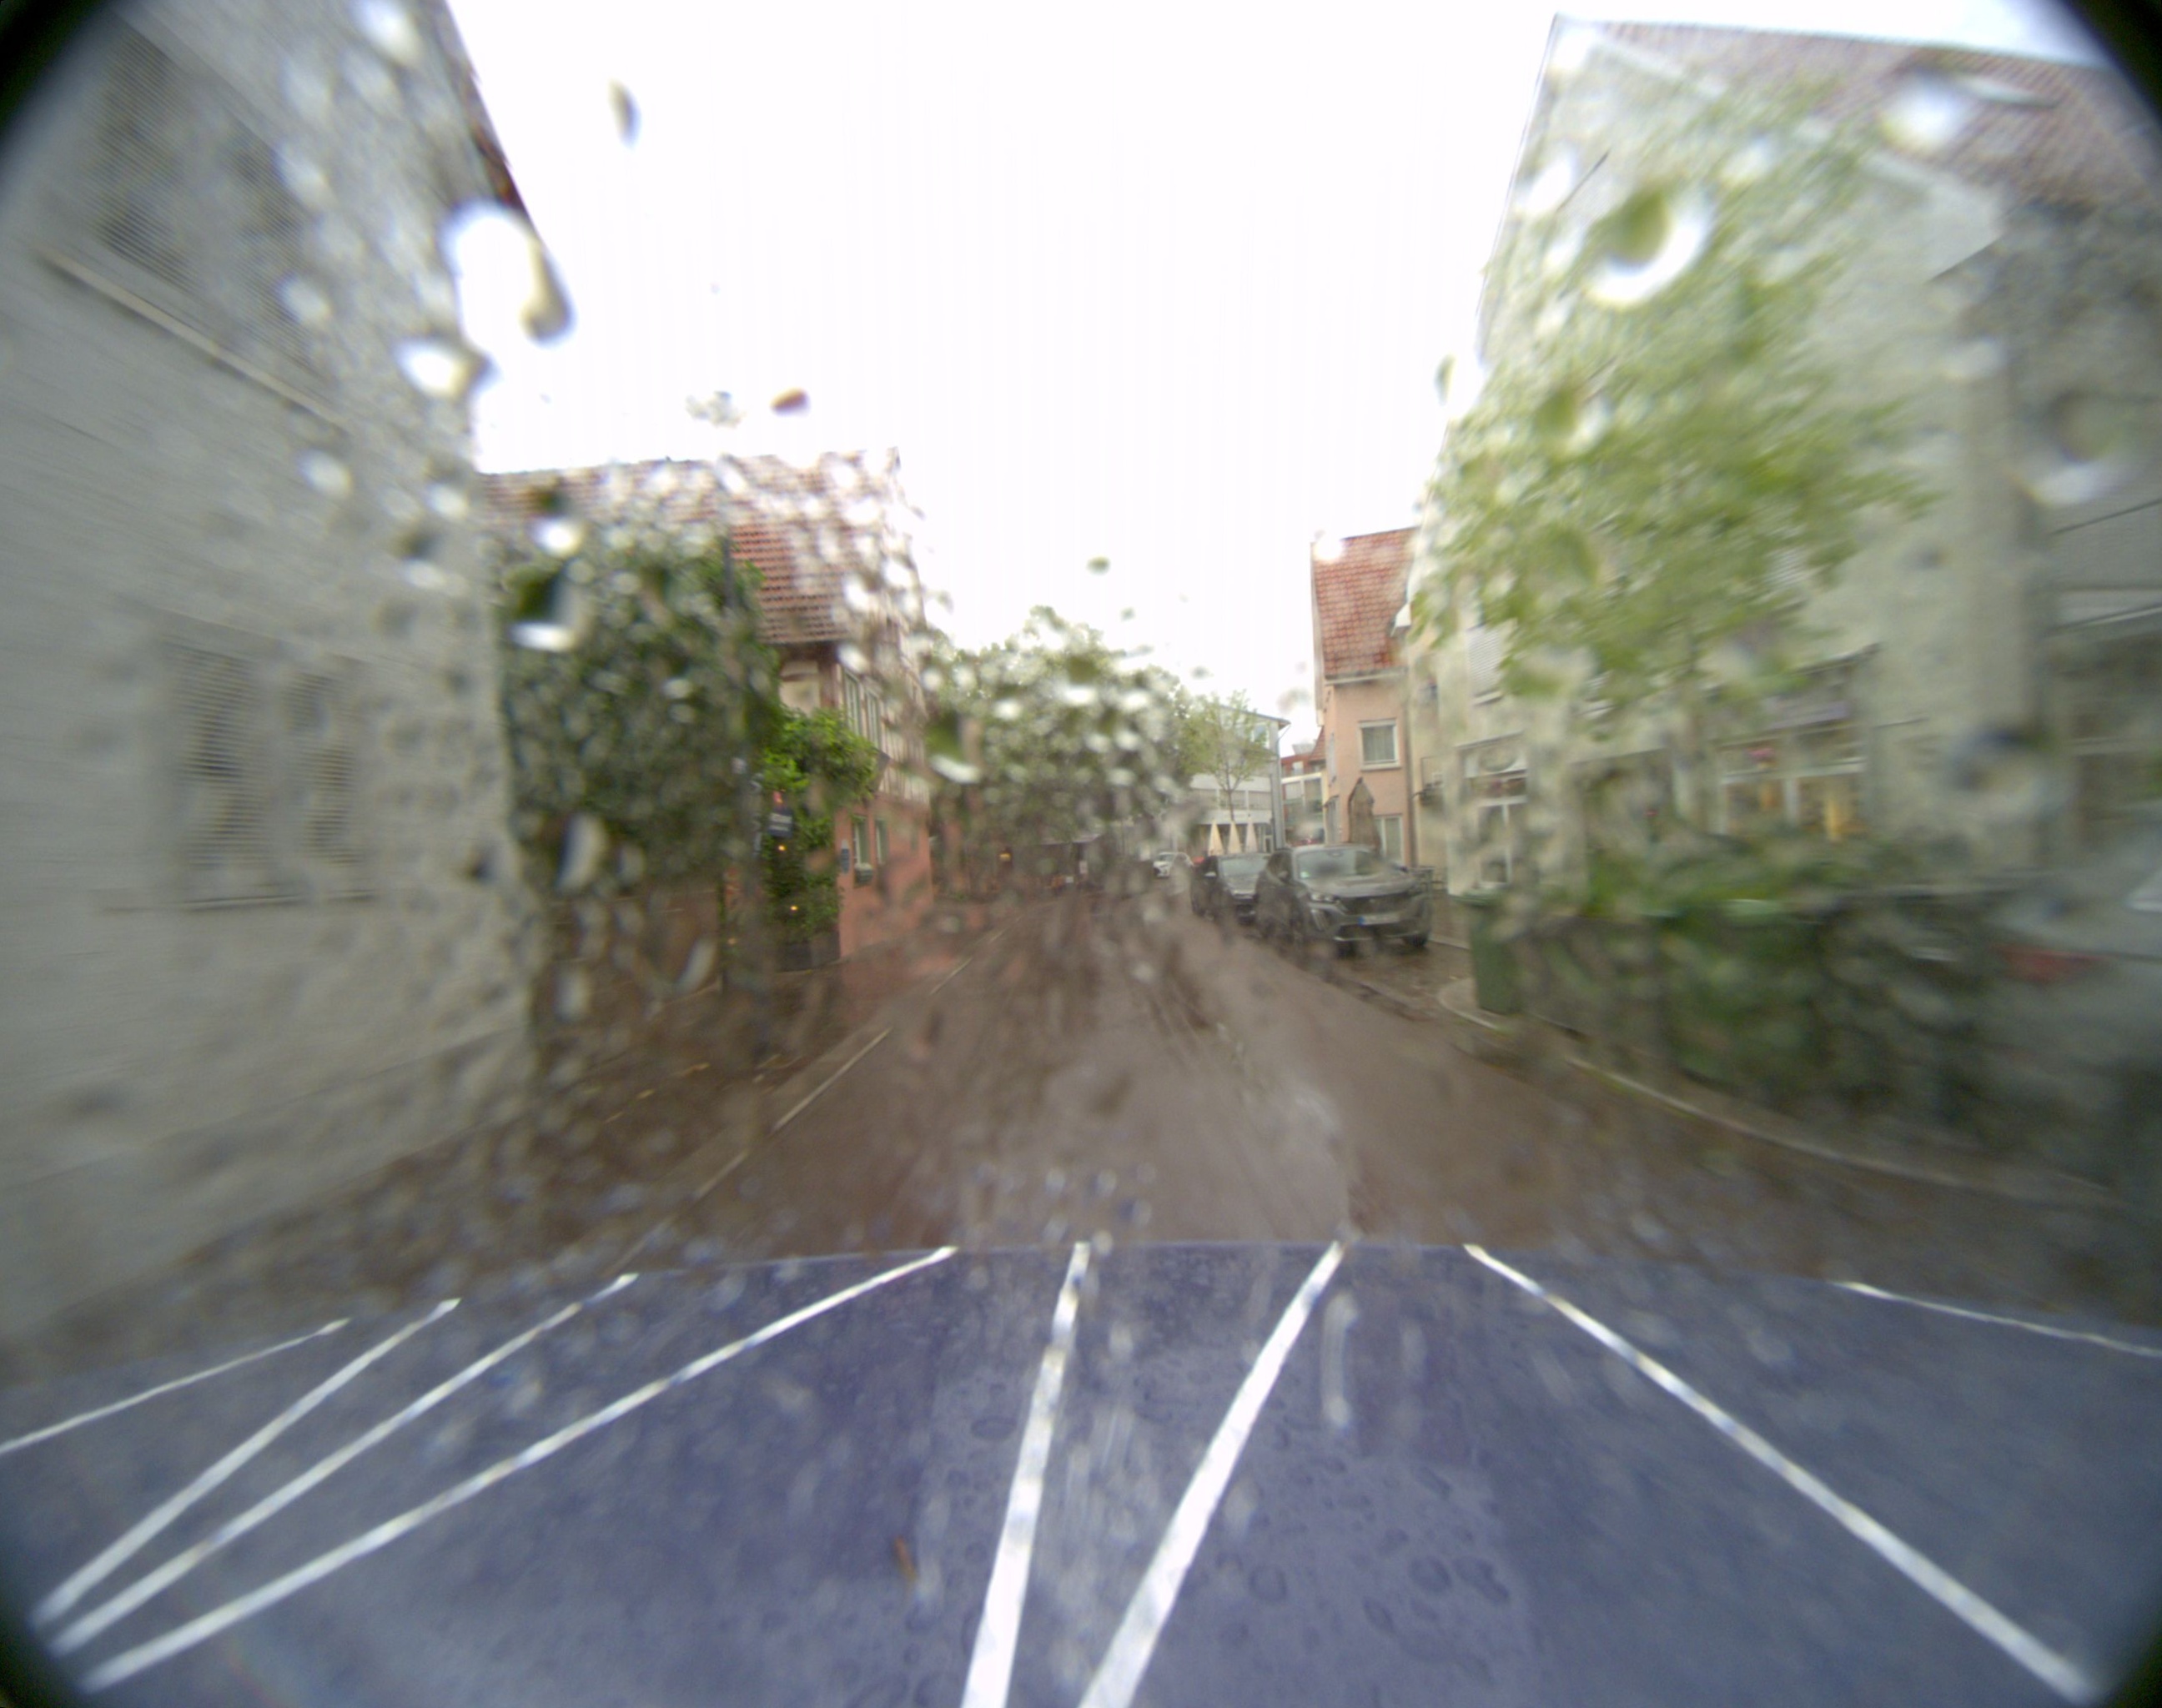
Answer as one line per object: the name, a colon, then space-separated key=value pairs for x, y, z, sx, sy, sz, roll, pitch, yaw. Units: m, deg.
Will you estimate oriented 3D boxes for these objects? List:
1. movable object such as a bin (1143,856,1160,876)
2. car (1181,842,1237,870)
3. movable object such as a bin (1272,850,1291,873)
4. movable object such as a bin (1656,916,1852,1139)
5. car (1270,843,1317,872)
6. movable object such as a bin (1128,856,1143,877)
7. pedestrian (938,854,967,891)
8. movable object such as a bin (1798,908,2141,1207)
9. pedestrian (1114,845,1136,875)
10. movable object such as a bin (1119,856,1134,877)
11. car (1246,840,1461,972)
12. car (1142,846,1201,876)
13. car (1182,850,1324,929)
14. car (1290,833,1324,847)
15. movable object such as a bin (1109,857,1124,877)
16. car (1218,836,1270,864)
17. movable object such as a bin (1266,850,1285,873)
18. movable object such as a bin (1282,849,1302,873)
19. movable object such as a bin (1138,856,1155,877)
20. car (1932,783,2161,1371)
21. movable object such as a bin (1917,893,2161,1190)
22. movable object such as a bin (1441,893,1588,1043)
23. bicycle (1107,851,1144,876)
movable object such as a bin: x=3.962 y=0.668 z=42.809 sx=0.726 sy=1.087 sz=0.611 roll=-4 pitch=2 yaw=25
car: x=8.394 y=0.097 z=49.668 sx=1.789 sy=1.460 sz=3.955 roll=-3 pitch=2 yaw=39
movable object such as a bin: x=10.577 y=0.382 z=40.084 sx=0.682 sy=1.129 sz=0.720 roll=-3 pitch=1 yaw=33
movable object such as a bin: x=3.641 y=0.909 z=4.144 sx=0.553 sy=1.040 sz=0.534 roll=-5 pitch=2 yaw=-3
car: x=12.177 y=0.182 z=43.444 sx=1.851 sy=1.443 sz=4.079 roll=-4 pitch=-1 yaw=25
movable object such as a bin: x=3.078 y=0.683 z=42.651 sx=0.538 sy=1.136 sz=0.729 roll=-1 pitch=1 yaw=31
pedestrian: x=-6.208 y=0.903 z=36.796 sx=0.891 sy=1.704 sz=0.885 roll=-7 pitch=3 yaw=-44
movable object such as a bin: x=3.980 y=0.855 z=3.471 sx=0.617 sy=1.095 sz=0.781 roll=-5 pitch=2 yaw=-2
pedestrian: x=2.635 y=0.349 z=45.262 sx=0.910 sy=1.689 sz=0.863 roll=0 pitch=4 yaw=44
movable object such as a bin: x=2.555 y=0.703 z=42.976 sx=0.538 sy=1.124 sz=0.729 roll=-1 pitch=1 yaw=31
car: x=3.937 y=0.653 z=11.841 sx=1.866 sy=1.515 sz=4.328 roll=-6 pitch=0 yaw=3
car: x=5.428 y=0.388 z=45.301 sx=1.788 sy=1.547 sz=3.956 roll=-2 pitch=1 yaw=34
car: x=3.732 y=0.717 z=17.369 sx=1.867 sy=1.433 sz=4.618 roll=-4 pitch=0 yaw=-3
car: x=27.754 y=-1.705 z=93.380 sx=1.805 sy=1.546 sz=3.914 roll=-6 pitch=2 yaw=-21
movable object such as a bin: x=2.021 y=0.735 z=43.431 sx=0.538 sy=1.077 sz=0.729 roll=-1 pitch=2 yaw=31
car: x=11.703 y=-0.318 z=54.384 sx=1.789 sy=1.630 sz=4.447 roll=-3 pitch=2 yaw=39
movable object such as a bin: x=10.100 y=0.391 z=39.407 sx=0.700 sy=1.137 sz=0.720 roll=-3 pitch=0 yaw=32
movable object such as a bin: x=10.825 y=0.337 z=39.041 sx=0.700 sy=1.115 sz=0.720 roll=-6 pitch=1 yaw=32
movable object such as a bin: x=3.637 y=0.714 z=42.213 sx=0.726 sy=1.077 sz=0.605 roll=-4 pitch=2 yaw=25
car: x=3.833 y=0.651 z=0.347 sx=1.828 sy=1.657 sz=4.642 roll=-5 pitch=2 yaw=4
movable object such as a bin: x=4.613 y=0.792 z=3.505 sx=0.617 sy=1.114 sz=0.781 roll=-5 pitch=2 yaw=-2
movable object such as a bin: x=3.625 y=0.924 z=6.409 sx=0.748 sy=1.077 sz=0.744 roll=-5 pitch=2 yaw=-2
bicycle: x=2.686 y=0.531 z=45.307 sx=0.925 sy=1.343 sz=2.220 roll=0 pitch=3 yaw=44
